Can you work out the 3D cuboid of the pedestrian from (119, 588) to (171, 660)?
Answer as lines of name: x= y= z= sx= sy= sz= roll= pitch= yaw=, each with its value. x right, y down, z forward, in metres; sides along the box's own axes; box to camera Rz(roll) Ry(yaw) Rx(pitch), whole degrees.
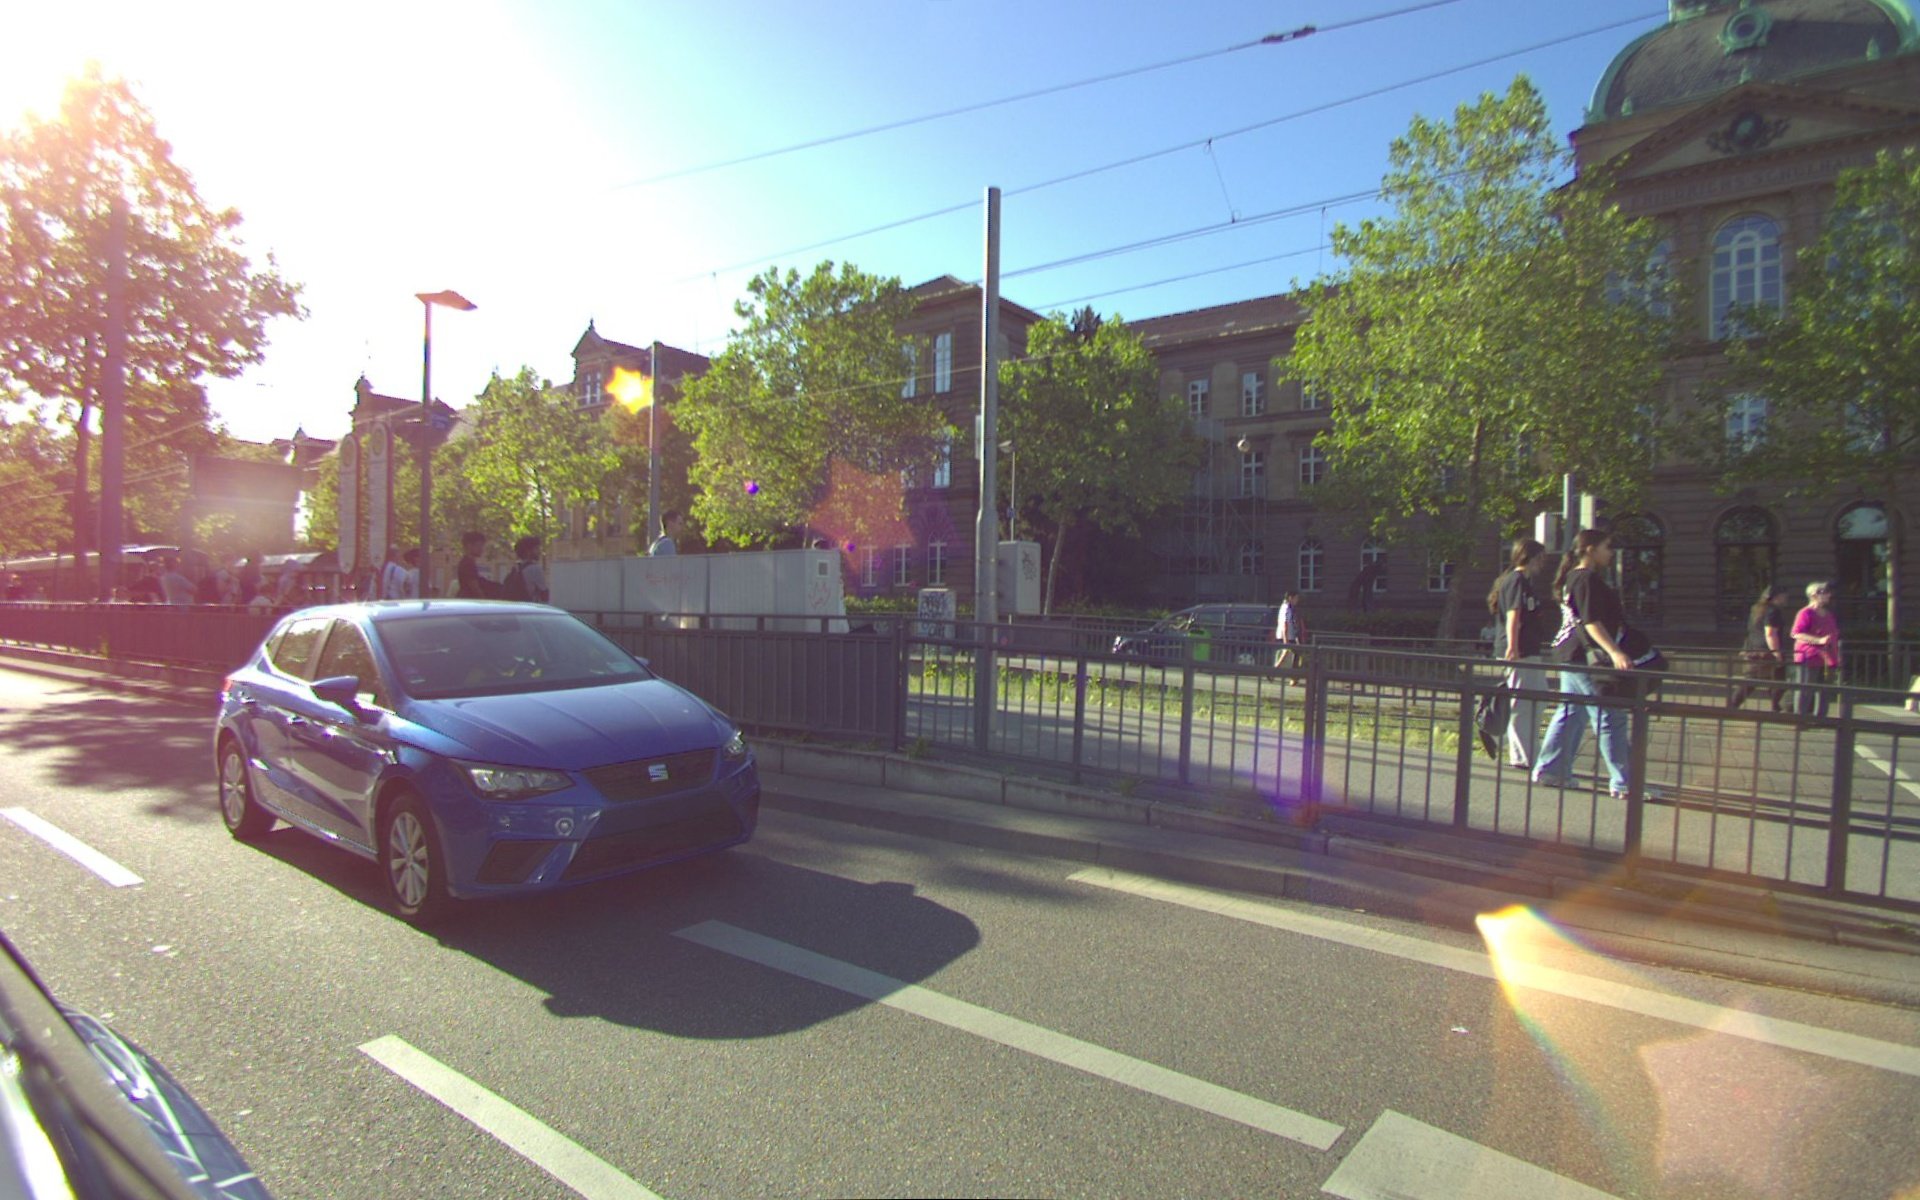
pedestrian: x=-14.348 y=0.420 z=17.816 sx=0.603 sy=1.256 sz=0.529 roll=0 pitch=-2 yaw=35

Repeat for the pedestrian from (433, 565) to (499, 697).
pedestrian: x=-6.848 y=0.422 z=14.029 sx=0.610 sy=1.783 sz=0.548 roll=0 pitch=-2 yaw=33

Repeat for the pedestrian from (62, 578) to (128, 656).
pedestrian: x=-17.130 y=0.338 z=20.046 sx=0.750 sy=1.521 sz=0.769 roll=0 pitch=-2 yaw=33

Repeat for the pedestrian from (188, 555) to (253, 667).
pedestrian: x=-11.527 y=0.174 z=15.786 sx=0.570 sy=1.709 sz=0.654 roll=0 pitch=-2 yaw=38

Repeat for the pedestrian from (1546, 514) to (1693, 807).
pedestrian: x=4.150 y=0.361 z=6.401 sx=0.745 sy=1.715 sz=0.627 roll=0 pitch=-2 yaw=33

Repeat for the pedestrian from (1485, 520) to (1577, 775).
pedestrian: x=4.079 y=0.324 z=7.222 sx=0.544 sy=1.715 sz=0.604 roll=0 pitch=-2 yaw=33

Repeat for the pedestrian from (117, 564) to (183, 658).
pedestrian: x=-15.565 y=0.215 z=19.453 sx=0.721 sy=1.766 sz=0.769 roll=0 pitch=-2 yaw=33

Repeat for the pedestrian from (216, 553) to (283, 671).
pedestrian: x=-10.616 y=0.184 z=15.127 sx=0.570 sy=1.709 sz=0.654 roll=0 pitch=-2 yaw=38

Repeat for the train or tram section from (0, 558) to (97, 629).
train or tram section: x=-52.158 y=-0.310 z=56.029 sx=18.245 sy=3.460 sz=2.844 roll=0 pitch=0 yaw=37

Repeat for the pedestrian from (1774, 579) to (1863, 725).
pedestrian: x=10.118 y=0.596 z=11.956 sx=0.708 sy=1.662 sz=0.626 roll=0 pitch=-1 yaw=32

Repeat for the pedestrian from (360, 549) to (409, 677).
pedestrian: x=-7.869 y=0.180 z=13.853 sx=0.498 sy=1.715 sz=0.613 roll=1 pitch=-1 yaw=-26

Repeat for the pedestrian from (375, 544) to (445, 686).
pedestrian: x=-6.847 y=0.183 z=12.608 sx=0.610 sy=1.715 sz=0.501 roll=0 pitch=-2 yaw=33

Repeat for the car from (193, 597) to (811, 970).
car: x=-2.792 y=0.709 z=5.787 sx=3.871 sy=1.426 sz=1.686 roll=0 pitch=0 yaw=39

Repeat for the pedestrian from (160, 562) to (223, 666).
pedestrian: x=-12.425 y=0.228 z=16.365 sx=0.570 sy=1.646 sz=0.654 roll=0 pitch=-2 yaw=38

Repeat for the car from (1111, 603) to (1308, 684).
car: x=5.995 y=0.974 z=24.505 sx=4.222 sy=1.674 sz=1.976 roll=1 pitch=2 yaw=37

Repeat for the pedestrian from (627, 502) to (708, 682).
pedestrian: x=-2.935 y=-0.075 z=10.172 sx=0.538 sy=1.747 sz=0.543 roll=0 pitch=-2 yaw=33

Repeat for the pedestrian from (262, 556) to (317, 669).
pedestrian: x=-10.546 y=0.196 z=15.914 sx=0.620 sy=1.721 sz=0.510 roll=0 pitch=-2 yaw=36

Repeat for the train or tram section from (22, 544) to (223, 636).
train or tram section: x=-37.640 y=-0.367 z=44.967 sx=18.184 sy=3.460 sz=2.823 roll=0 pitch=0 yaw=37

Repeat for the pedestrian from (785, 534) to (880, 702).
pedestrian: x=-1.292 y=0.167 z=10.305 sx=0.639 sy=1.631 sz=0.634 roll=3 pitch=0 yaw=33

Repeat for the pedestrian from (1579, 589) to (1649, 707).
pedestrian: x=9.531 y=0.683 z=14.766 sx=0.626 sy=1.677 sz=0.707 roll=0 pitch=-1 yaw=10

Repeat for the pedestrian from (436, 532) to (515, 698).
pedestrian: x=-5.262 y=0.161 z=10.997 sx=0.538 sy=1.747 sz=0.543 roll=0 pitch=-2 yaw=33

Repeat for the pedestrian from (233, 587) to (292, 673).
pedestrian: x=-10.070 y=0.427 z=14.611 sx=0.530 sy=1.201 sz=0.540 roll=0 pitch=-2 yaw=36

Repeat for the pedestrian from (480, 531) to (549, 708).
pedestrian: x=-4.573 y=0.203 z=10.380 sx=0.530 sy=1.747 sz=0.551 roll=2 pitch=-2 yaw=-33

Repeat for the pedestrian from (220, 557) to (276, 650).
pedestrian: x=-13.024 y=0.066 z=18.521 sx=0.621 sy=1.662 sz=0.614 roll=0 pitch=-2 yaw=33

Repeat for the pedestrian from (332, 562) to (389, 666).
pedestrian: x=-8.993 y=0.213 z=15.179 sx=0.530 sy=1.530 sz=0.540 roll=0 pitch=-2 yaw=36

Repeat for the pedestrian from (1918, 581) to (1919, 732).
pedestrian: x=10.927 y=0.627 z=10.945 sx=0.703 sy=1.692 sz=0.613 roll=0 pitch=-1 yaw=32

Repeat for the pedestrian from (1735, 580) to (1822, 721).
pedestrian: x=10.557 y=0.631 z=13.074 sx=0.627 sy=1.756 sz=0.706 roll=0 pitch=-1 yaw=16

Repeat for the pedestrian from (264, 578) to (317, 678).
pedestrian: x=-9.059 y=0.370 z=13.699 sx=0.506 sy=1.326 sz=0.412 roll=0 pitch=-2 yaw=35

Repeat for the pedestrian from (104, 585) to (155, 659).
pedestrian: x=-15.090 y=0.401 z=18.388 sx=0.603 sy=1.309 sz=0.529 roll=0 pitch=-2 yaw=33

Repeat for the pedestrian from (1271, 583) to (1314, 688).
pedestrian: x=5.650 y=0.597 z=17.182 sx=0.544 sy=1.741 sz=0.519 roll=0 pitch=-1 yaw=40
